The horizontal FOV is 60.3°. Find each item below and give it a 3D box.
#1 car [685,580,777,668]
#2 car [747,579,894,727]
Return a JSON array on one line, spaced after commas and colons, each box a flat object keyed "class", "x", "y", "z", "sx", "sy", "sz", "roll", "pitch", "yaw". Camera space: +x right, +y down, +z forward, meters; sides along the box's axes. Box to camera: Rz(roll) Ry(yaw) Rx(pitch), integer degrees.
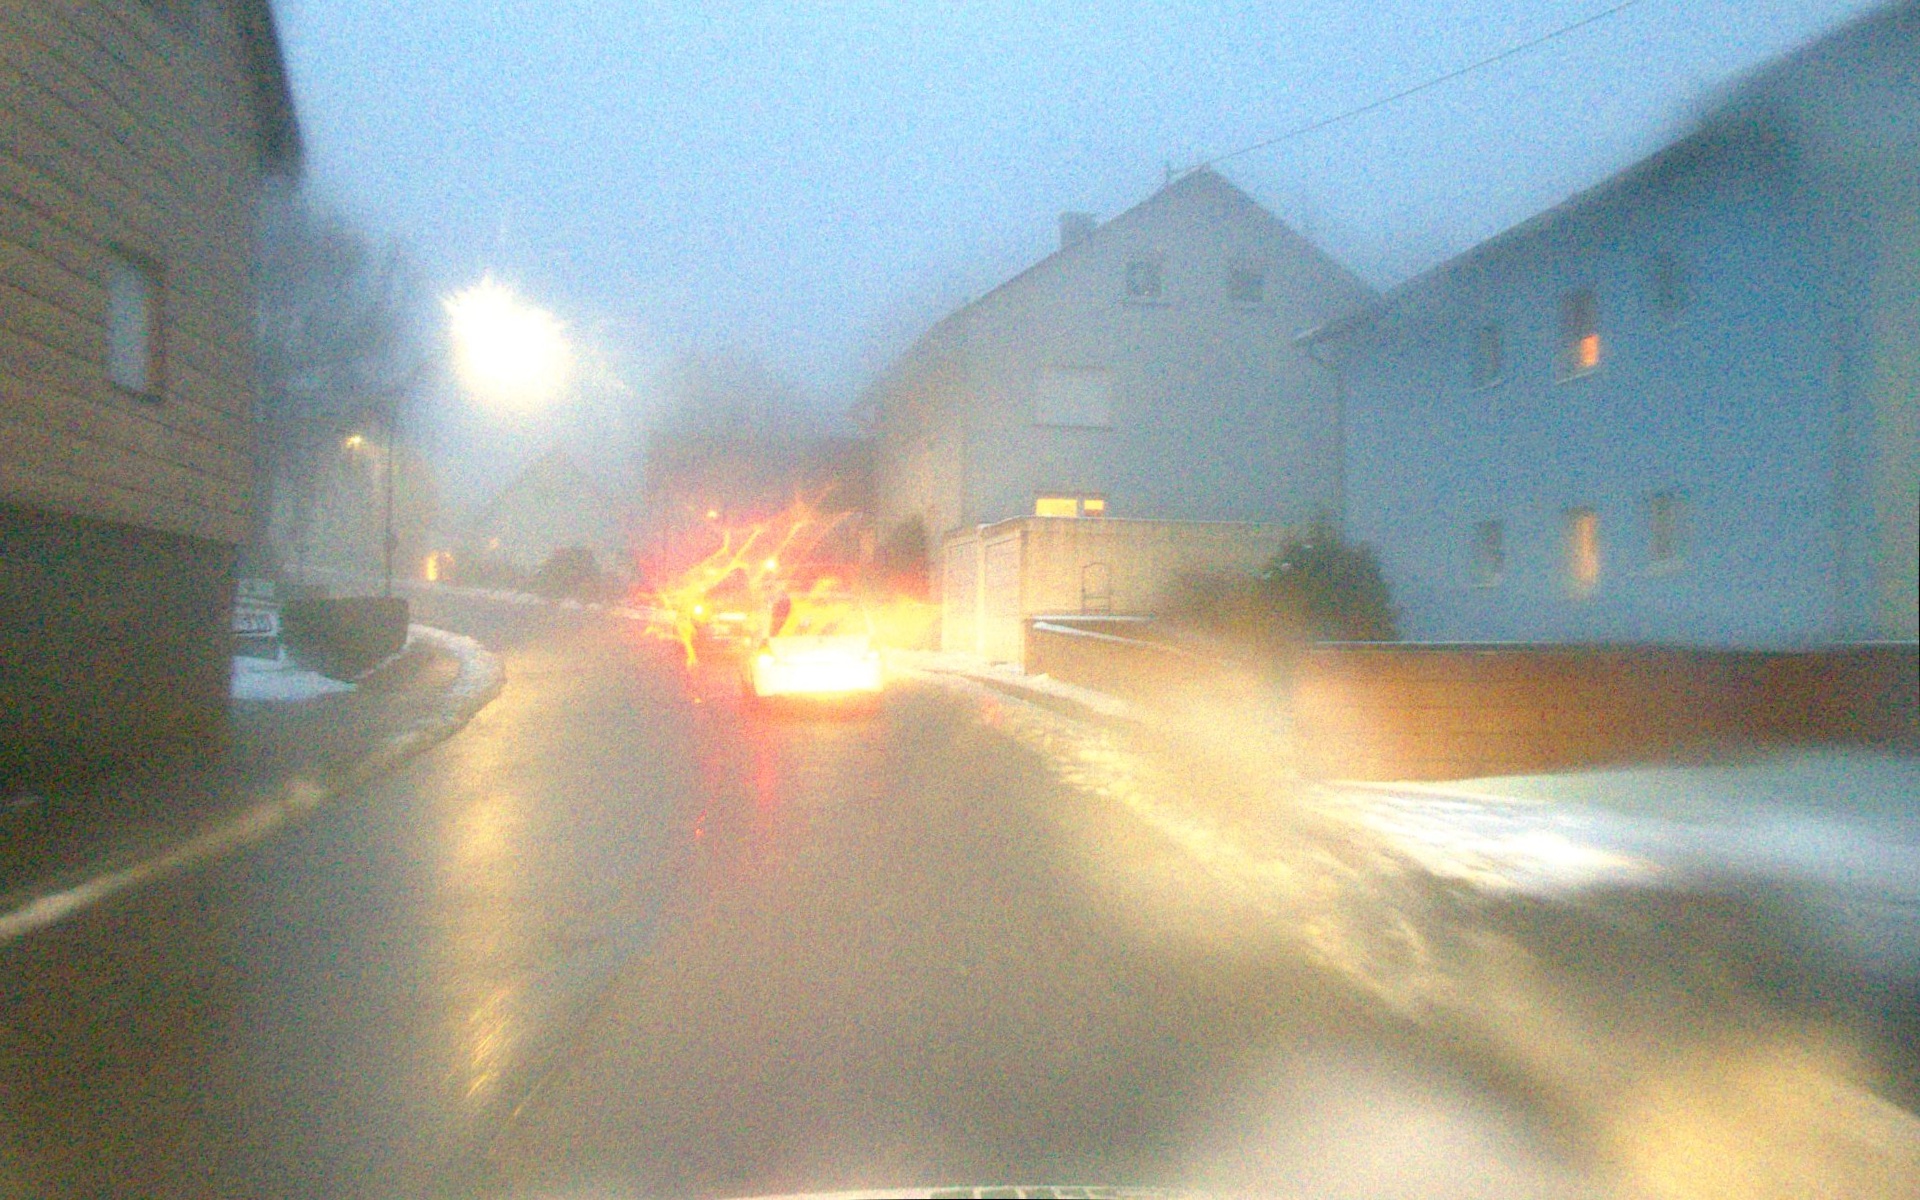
[{"class": "car", "x": -4.723, "y": 0.504, "z": 33.804, "sx": 1.616, "sy": 1.624, "sz": 3.689, "roll": 2, "pitch": -2, "yaw": -11}, {"class": "car", "x": -1.747, "y": 0.647, "z": 20.626, "sx": 1.613, "sy": 1.624, "sz": 3.695, "roll": 2, "pitch": -2, "yaw": -5}]
